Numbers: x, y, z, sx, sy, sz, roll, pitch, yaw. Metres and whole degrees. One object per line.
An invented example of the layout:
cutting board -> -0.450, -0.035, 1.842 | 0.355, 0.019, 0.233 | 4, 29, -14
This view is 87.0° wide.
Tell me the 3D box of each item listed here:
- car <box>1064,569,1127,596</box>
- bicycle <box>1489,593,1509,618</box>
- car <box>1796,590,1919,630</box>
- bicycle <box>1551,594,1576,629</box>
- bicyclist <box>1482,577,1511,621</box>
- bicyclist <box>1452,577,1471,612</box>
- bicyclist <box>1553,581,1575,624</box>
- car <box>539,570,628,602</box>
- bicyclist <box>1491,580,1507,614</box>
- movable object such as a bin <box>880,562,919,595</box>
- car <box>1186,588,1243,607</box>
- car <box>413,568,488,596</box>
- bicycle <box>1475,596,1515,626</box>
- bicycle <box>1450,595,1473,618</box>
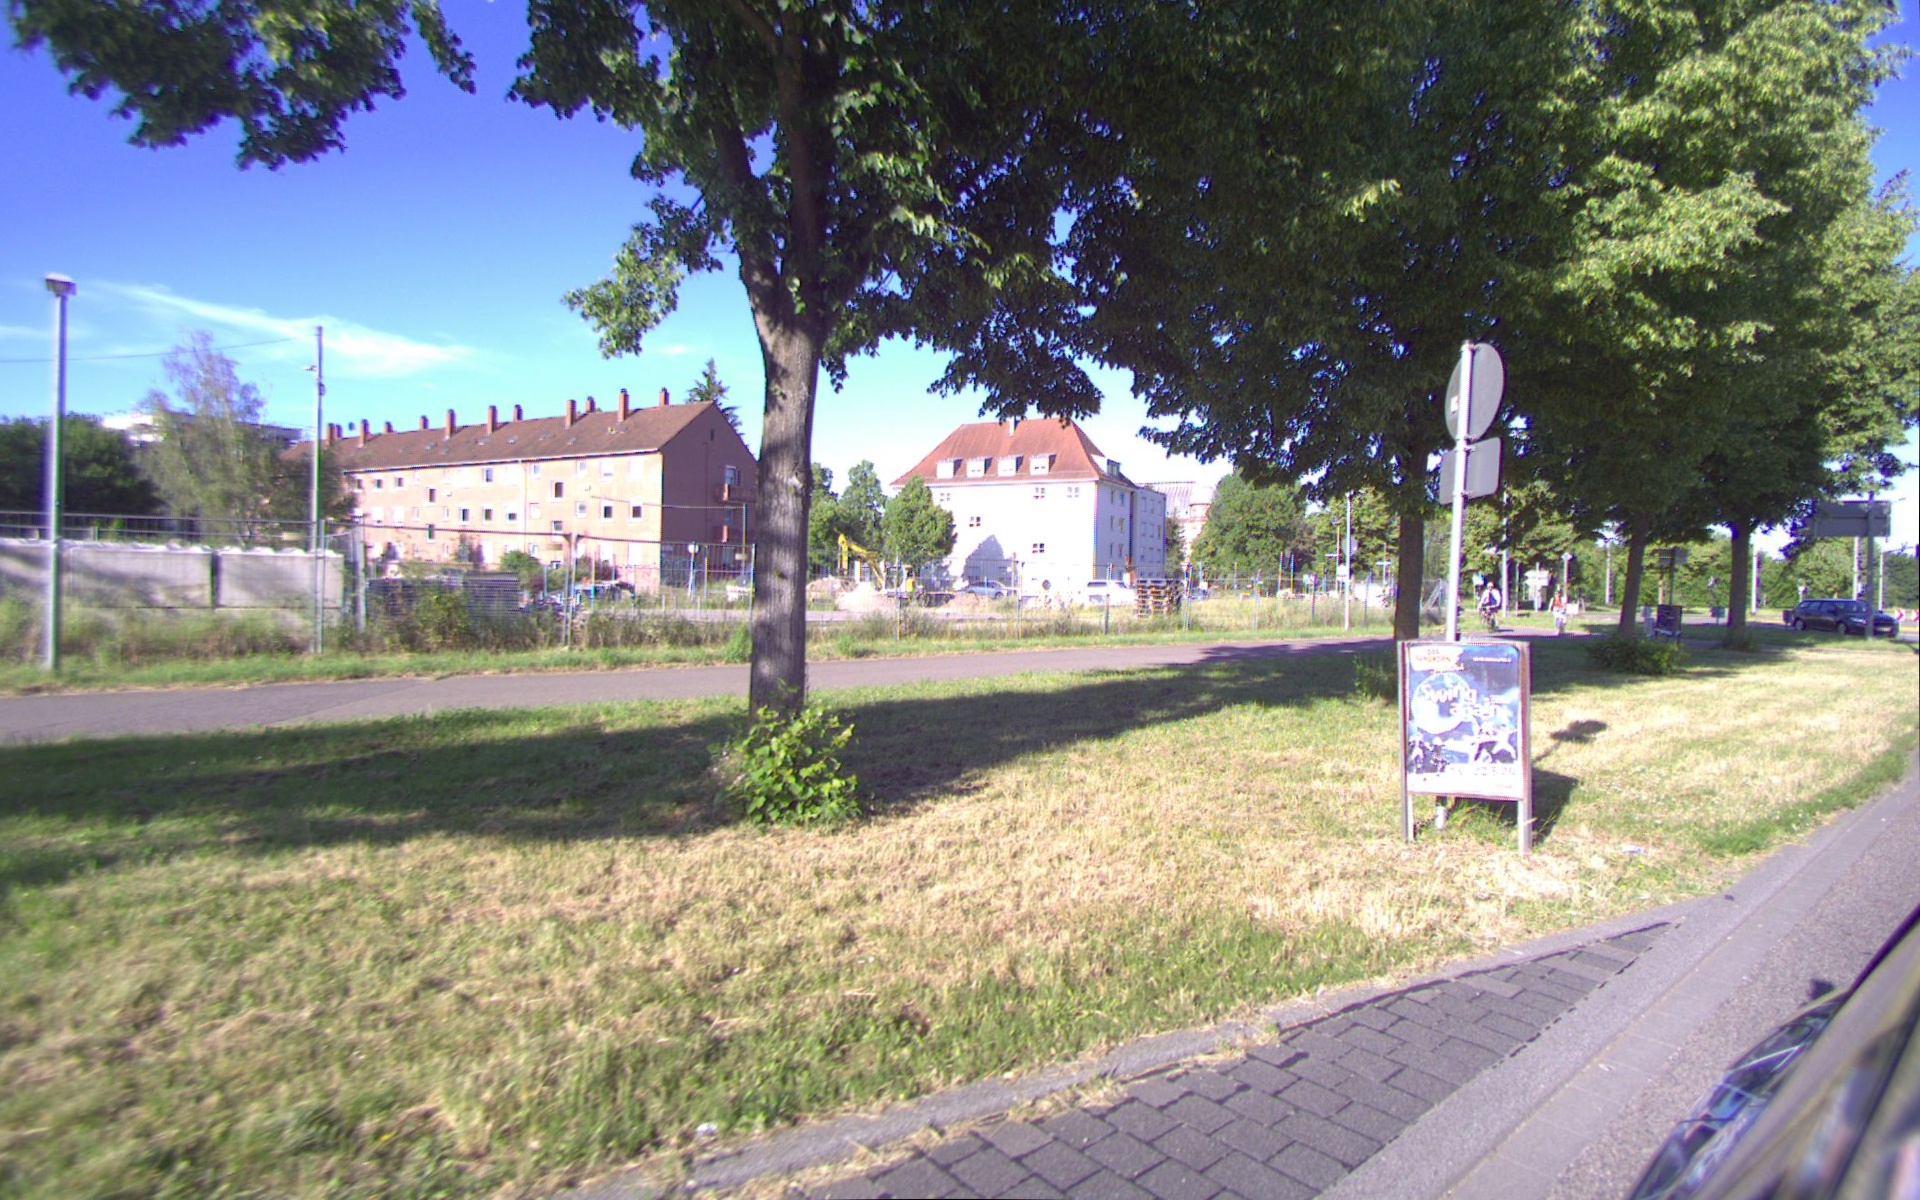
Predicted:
car -> 10.377, -1.354, 77.501 | 4.433, 2.039, 1.980 | 1, 1, 29
bicycle -> 24.817, 0.258, 46.641 | 0.472, 1.095, 1.636 | 0, 2, 16
car -> 35.680, 0.367, 40.263 | 1.818, 1.446, 3.941 | 1, 1, 6
bicycle -> 21.254, 0.388, 35.654 | 0.501, 1.166, 1.593 | 1, 1, 22
bicyclist -> 19.352, -0.050, 36.493 | 0.781, 1.572, 0.654 | 0, 1, -41
bicyclist -> 23.112, -0.249, 46.673 | 0.584, 1.606, 0.961 | 0, 1, 15
bicyclist -> 21.253, 0.086, 35.622 | 0.499, 1.491, 0.827 | 1, 1, 23
car -> -19.437, -0.697, 52.332 | 3.840, 1.576, 1.997 | 0, 1, -41
bicyclist -> 24.819, -0.148, 46.643 | 0.465, 1.504, 0.911 | 0, 1, 16
movable object such as a bin -> -3.747, -1.340, 62.964 | 2.033, 2.038, 1.996 | 0, 1, 8
car -> 19.281, -0.224, 76.635 | 3.962, 1.394, 1.741 | 1, 2, 28
car -> -31.009, -1.079, 61.655 | 3.730, 1.653, 1.898 | 0, 1, -41
bicycle -> 19.302, 0.387, 36.479 | 1.788, 1.025, 0.656 | 0, 1, -41
bicycle -> 23.130, 0.288, 46.721 | 0.584, 0.972, 1.892 | 0, 2, 15
